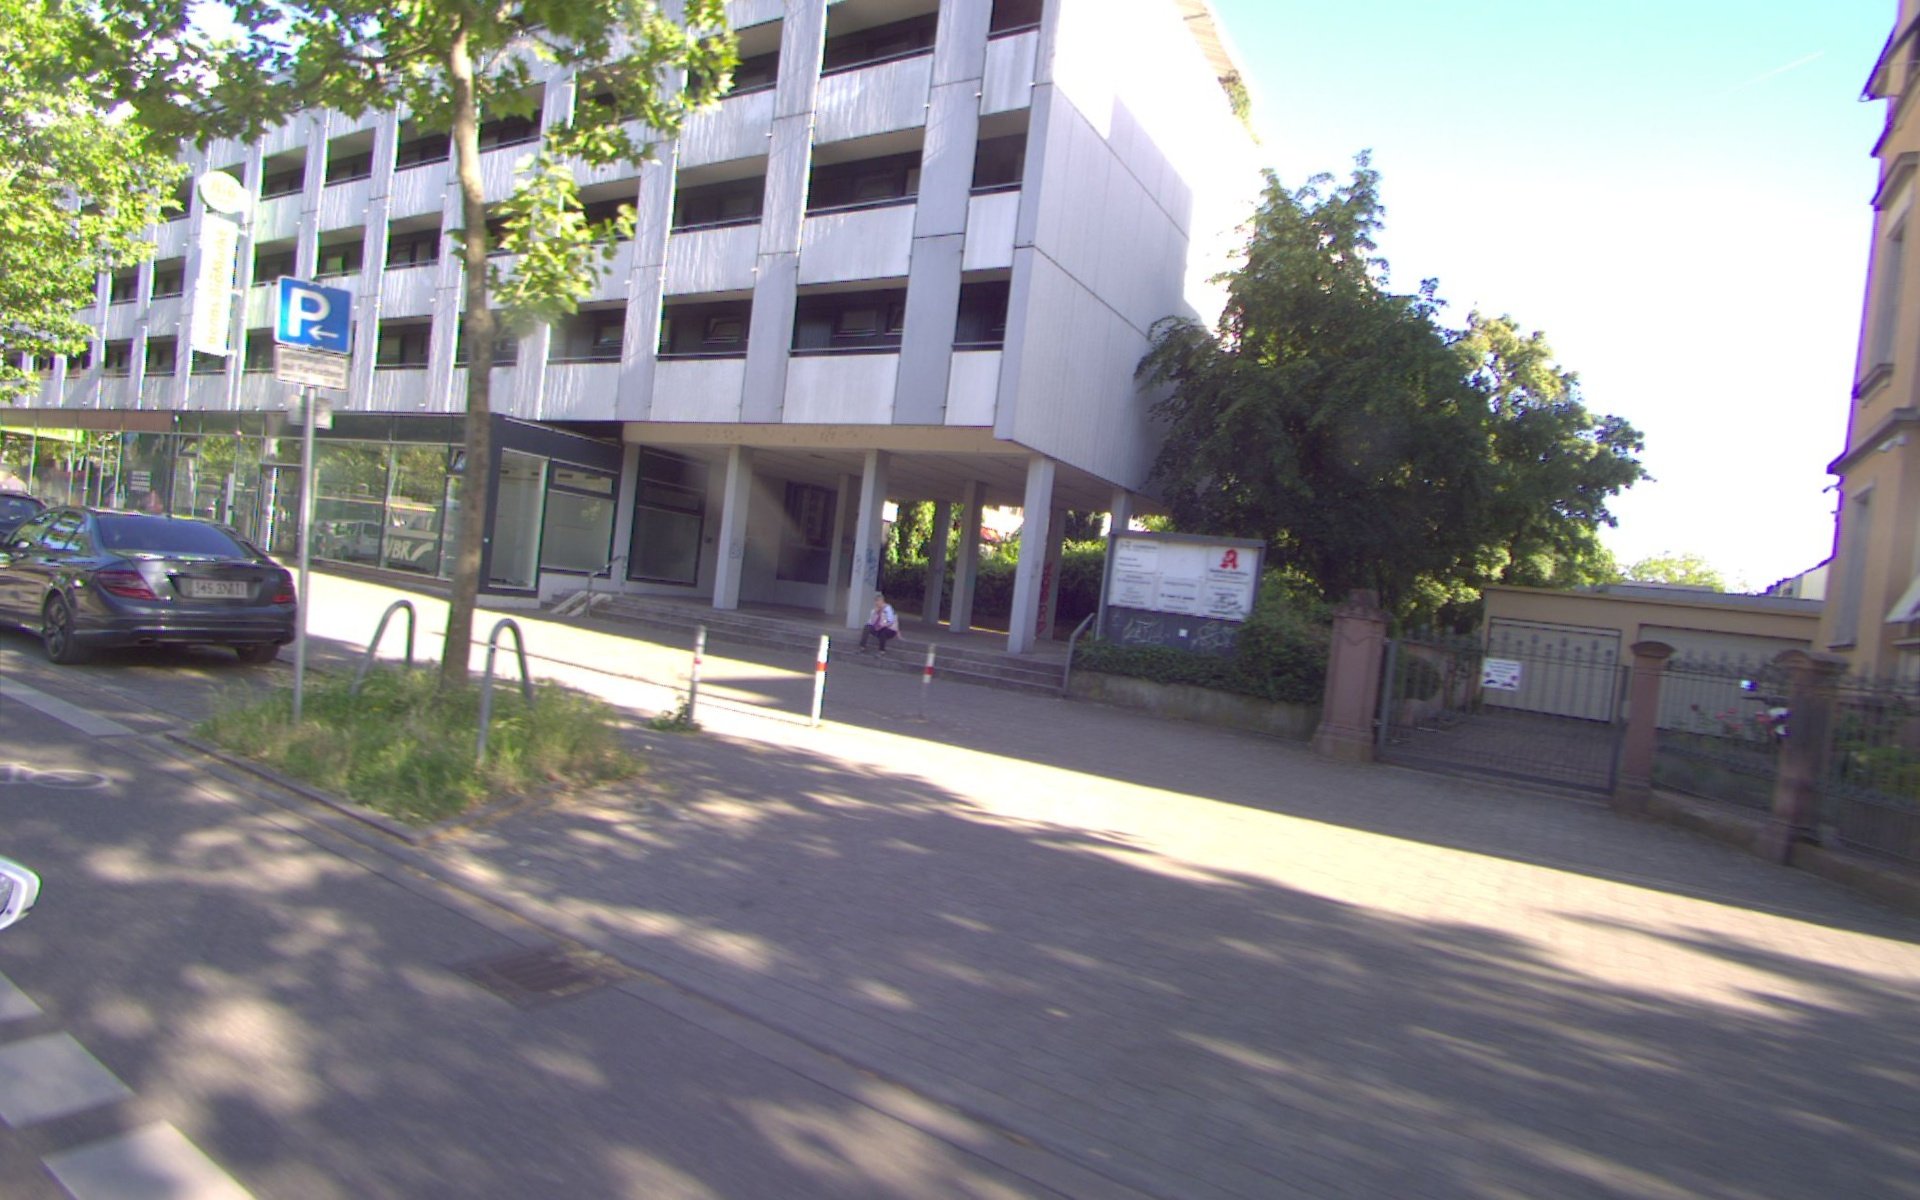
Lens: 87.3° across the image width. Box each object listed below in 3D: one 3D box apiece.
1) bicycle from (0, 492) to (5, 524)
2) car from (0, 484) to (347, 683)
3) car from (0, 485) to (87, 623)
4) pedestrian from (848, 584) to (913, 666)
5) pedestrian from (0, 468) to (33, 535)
[{"bbox_3d":[-35.951,-3.476,36.793,0.238,1.162,1.386,8,-1,31],"label":"bicycle"},{"bbox_3d":[-8.609,-0.242,10.373,4.522,1.527,1.997,6,-2,32],"label":"car"},{"bbox_3d":[-13.134,-0.793,12.970,3.934,1.570,1.672,8,-1,32],"label":"car"},{"bbox_3d":[-1.473,0.469,18.624,0.732,1.373,0.718,8,0,39],"label":"pedestrian"},{"bbox_3d":[-30.578,-3.176,32.386,0.876,2.039,0.788,7,2,33],"label":"pedestrian"}]
